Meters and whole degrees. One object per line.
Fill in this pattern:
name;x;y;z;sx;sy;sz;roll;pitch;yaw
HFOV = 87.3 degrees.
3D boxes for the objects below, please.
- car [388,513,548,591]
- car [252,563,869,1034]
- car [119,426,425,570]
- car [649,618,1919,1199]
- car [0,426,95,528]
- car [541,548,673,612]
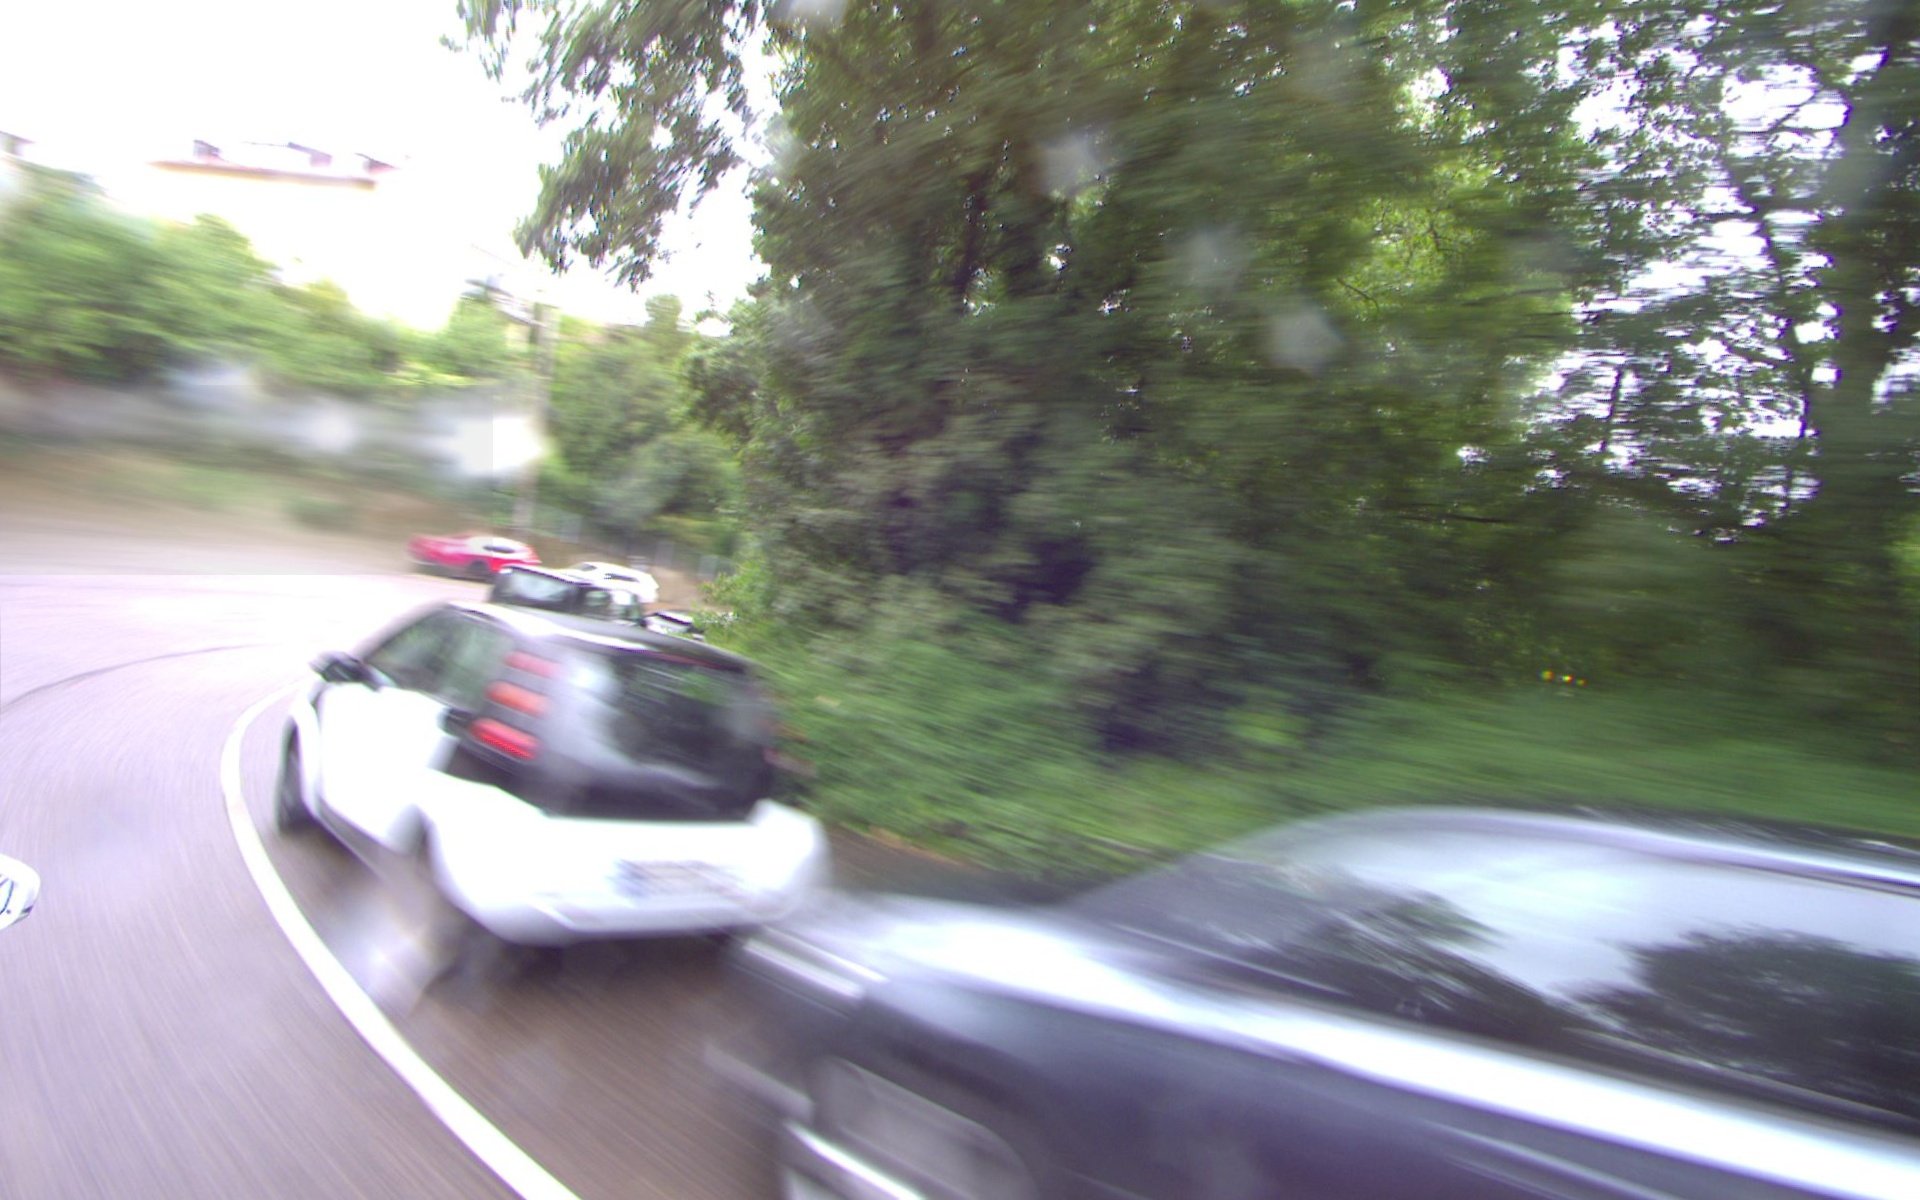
car;-16.862;-1.597;34.731;1.817;1.683;4.578;13;-1;29
car;-2.372;0.758;5.402;1.682;1.423;3.683;11;-3;-43
car;-19.313;-2.704;28.936;2.287;2.565;7.128;12;-1;16
car;1.363;1.076;2.423;3.965;1.481;1.654;7;-3;31
car;-20.864;-2.827;20.548;1.762;1.909;4.927;12;-1;1
car;-13.873;-0.754;39.753;1.818;1.587;4.575;13;-1;33
